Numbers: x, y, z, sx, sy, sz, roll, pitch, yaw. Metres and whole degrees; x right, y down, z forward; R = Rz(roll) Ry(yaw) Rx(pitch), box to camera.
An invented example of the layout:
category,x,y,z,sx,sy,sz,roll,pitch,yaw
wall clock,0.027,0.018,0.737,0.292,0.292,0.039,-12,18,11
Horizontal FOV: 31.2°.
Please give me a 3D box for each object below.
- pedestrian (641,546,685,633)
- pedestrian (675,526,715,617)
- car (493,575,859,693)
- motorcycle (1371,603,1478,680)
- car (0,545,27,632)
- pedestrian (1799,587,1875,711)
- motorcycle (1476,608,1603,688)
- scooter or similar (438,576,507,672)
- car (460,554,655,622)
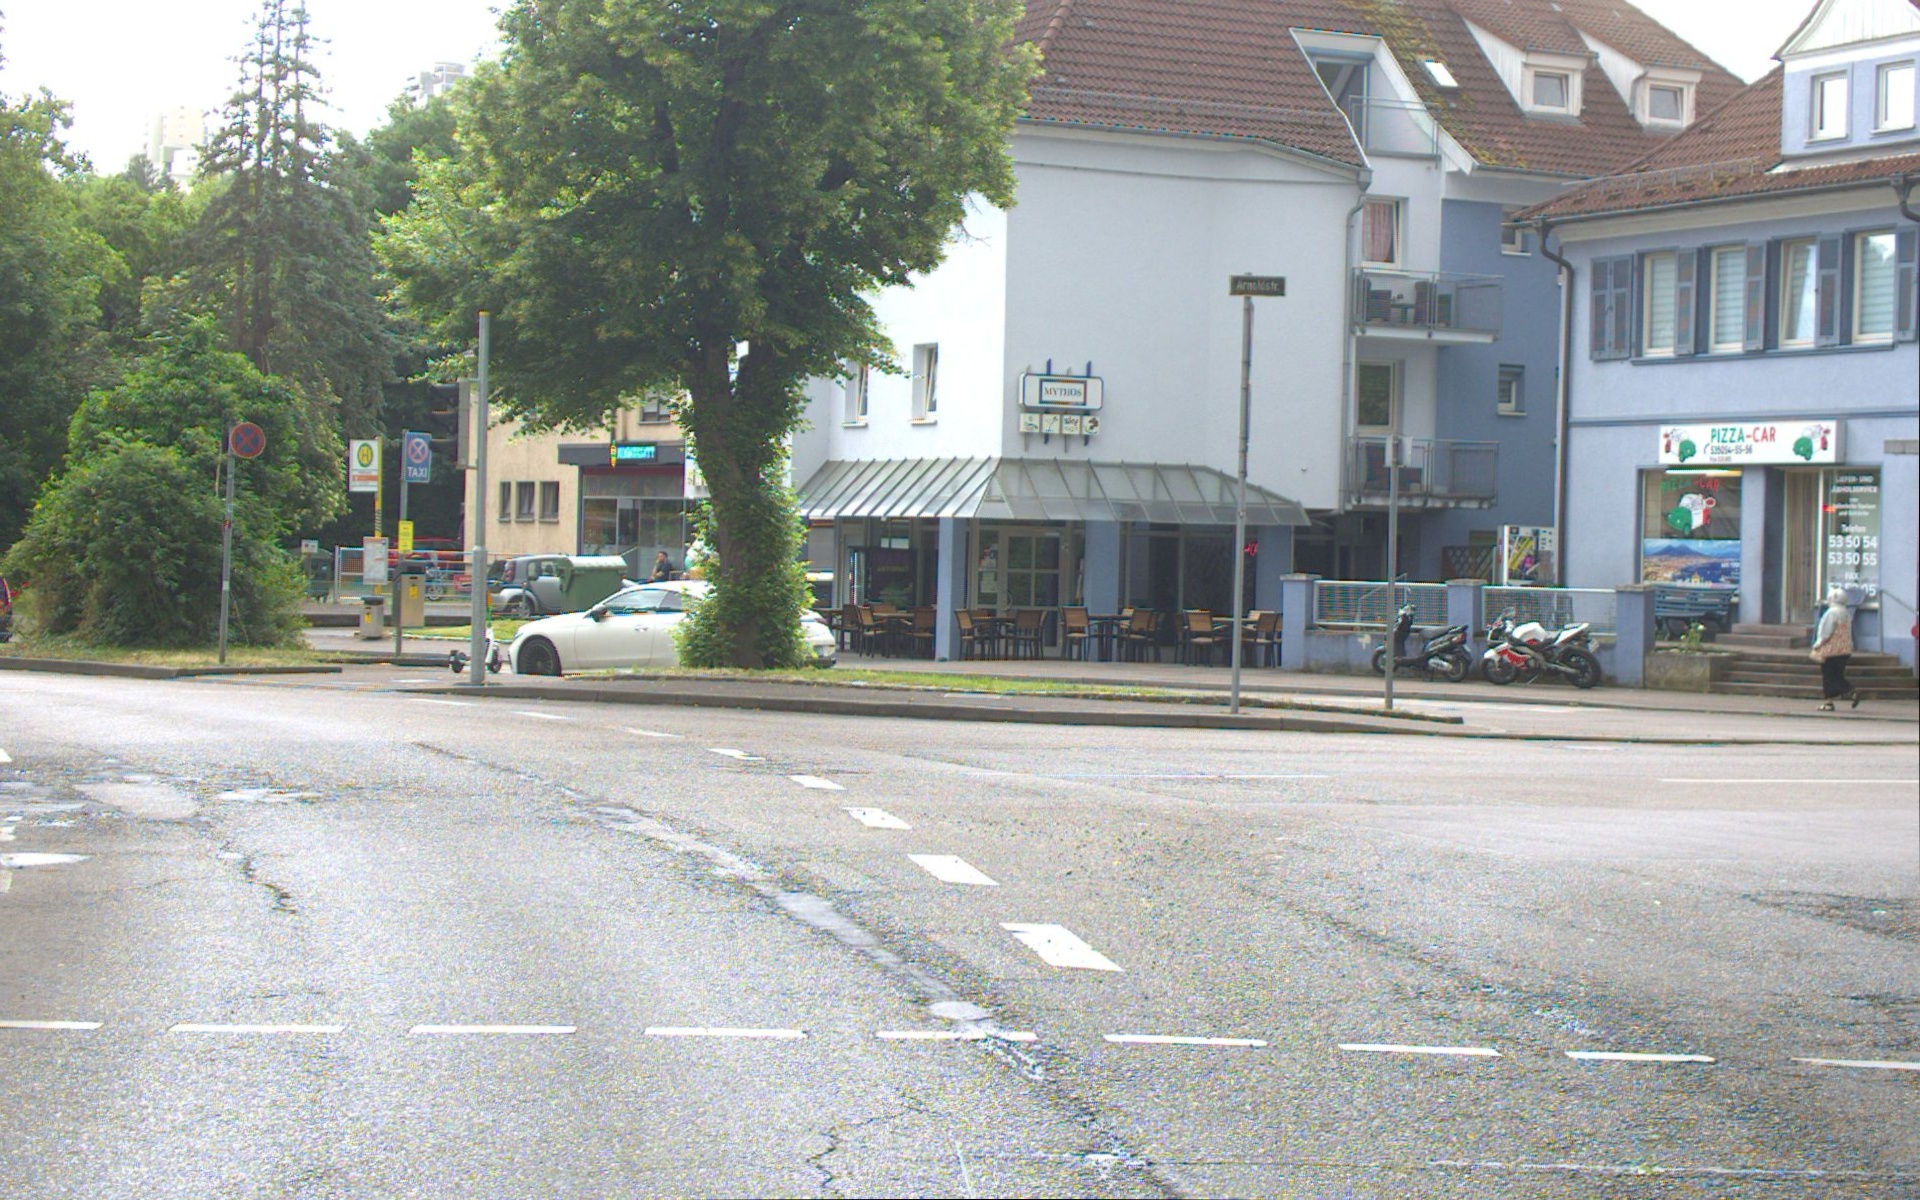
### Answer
category,x,y,z,sx,sy,sz,roll,pitch,yaw
pedestrian,-6.972,-0.246,80.761,0.837,2.007,1.056,1,1,-14
pedestrian,-4.563,-0.496,59.207,0.543,1.554,0.467,0,0,13
car,-3.809,0.426,45.759,4.709,1.405,1.898,2,1,35
motorcycle,6.769,0.597,50.132,1.458,1.085,0.523,1,1,35
car,-16.424,-0.211,53.518,3.322,1.347,1.778,1,1,27
pedestrian,11.217,0.619,43.972,0.732,1.554,0.767,1,0,31
motorcycle,8.145,0.669,48.362,1.628,1.085,0.626,1,1,32
scooter or similar,-6.034,0.287,42.614,0.442,1.171,1.437,1,1,9
car,-8.862,-0.260,75.628,3.936,1.437,1.753,1,1,-20
